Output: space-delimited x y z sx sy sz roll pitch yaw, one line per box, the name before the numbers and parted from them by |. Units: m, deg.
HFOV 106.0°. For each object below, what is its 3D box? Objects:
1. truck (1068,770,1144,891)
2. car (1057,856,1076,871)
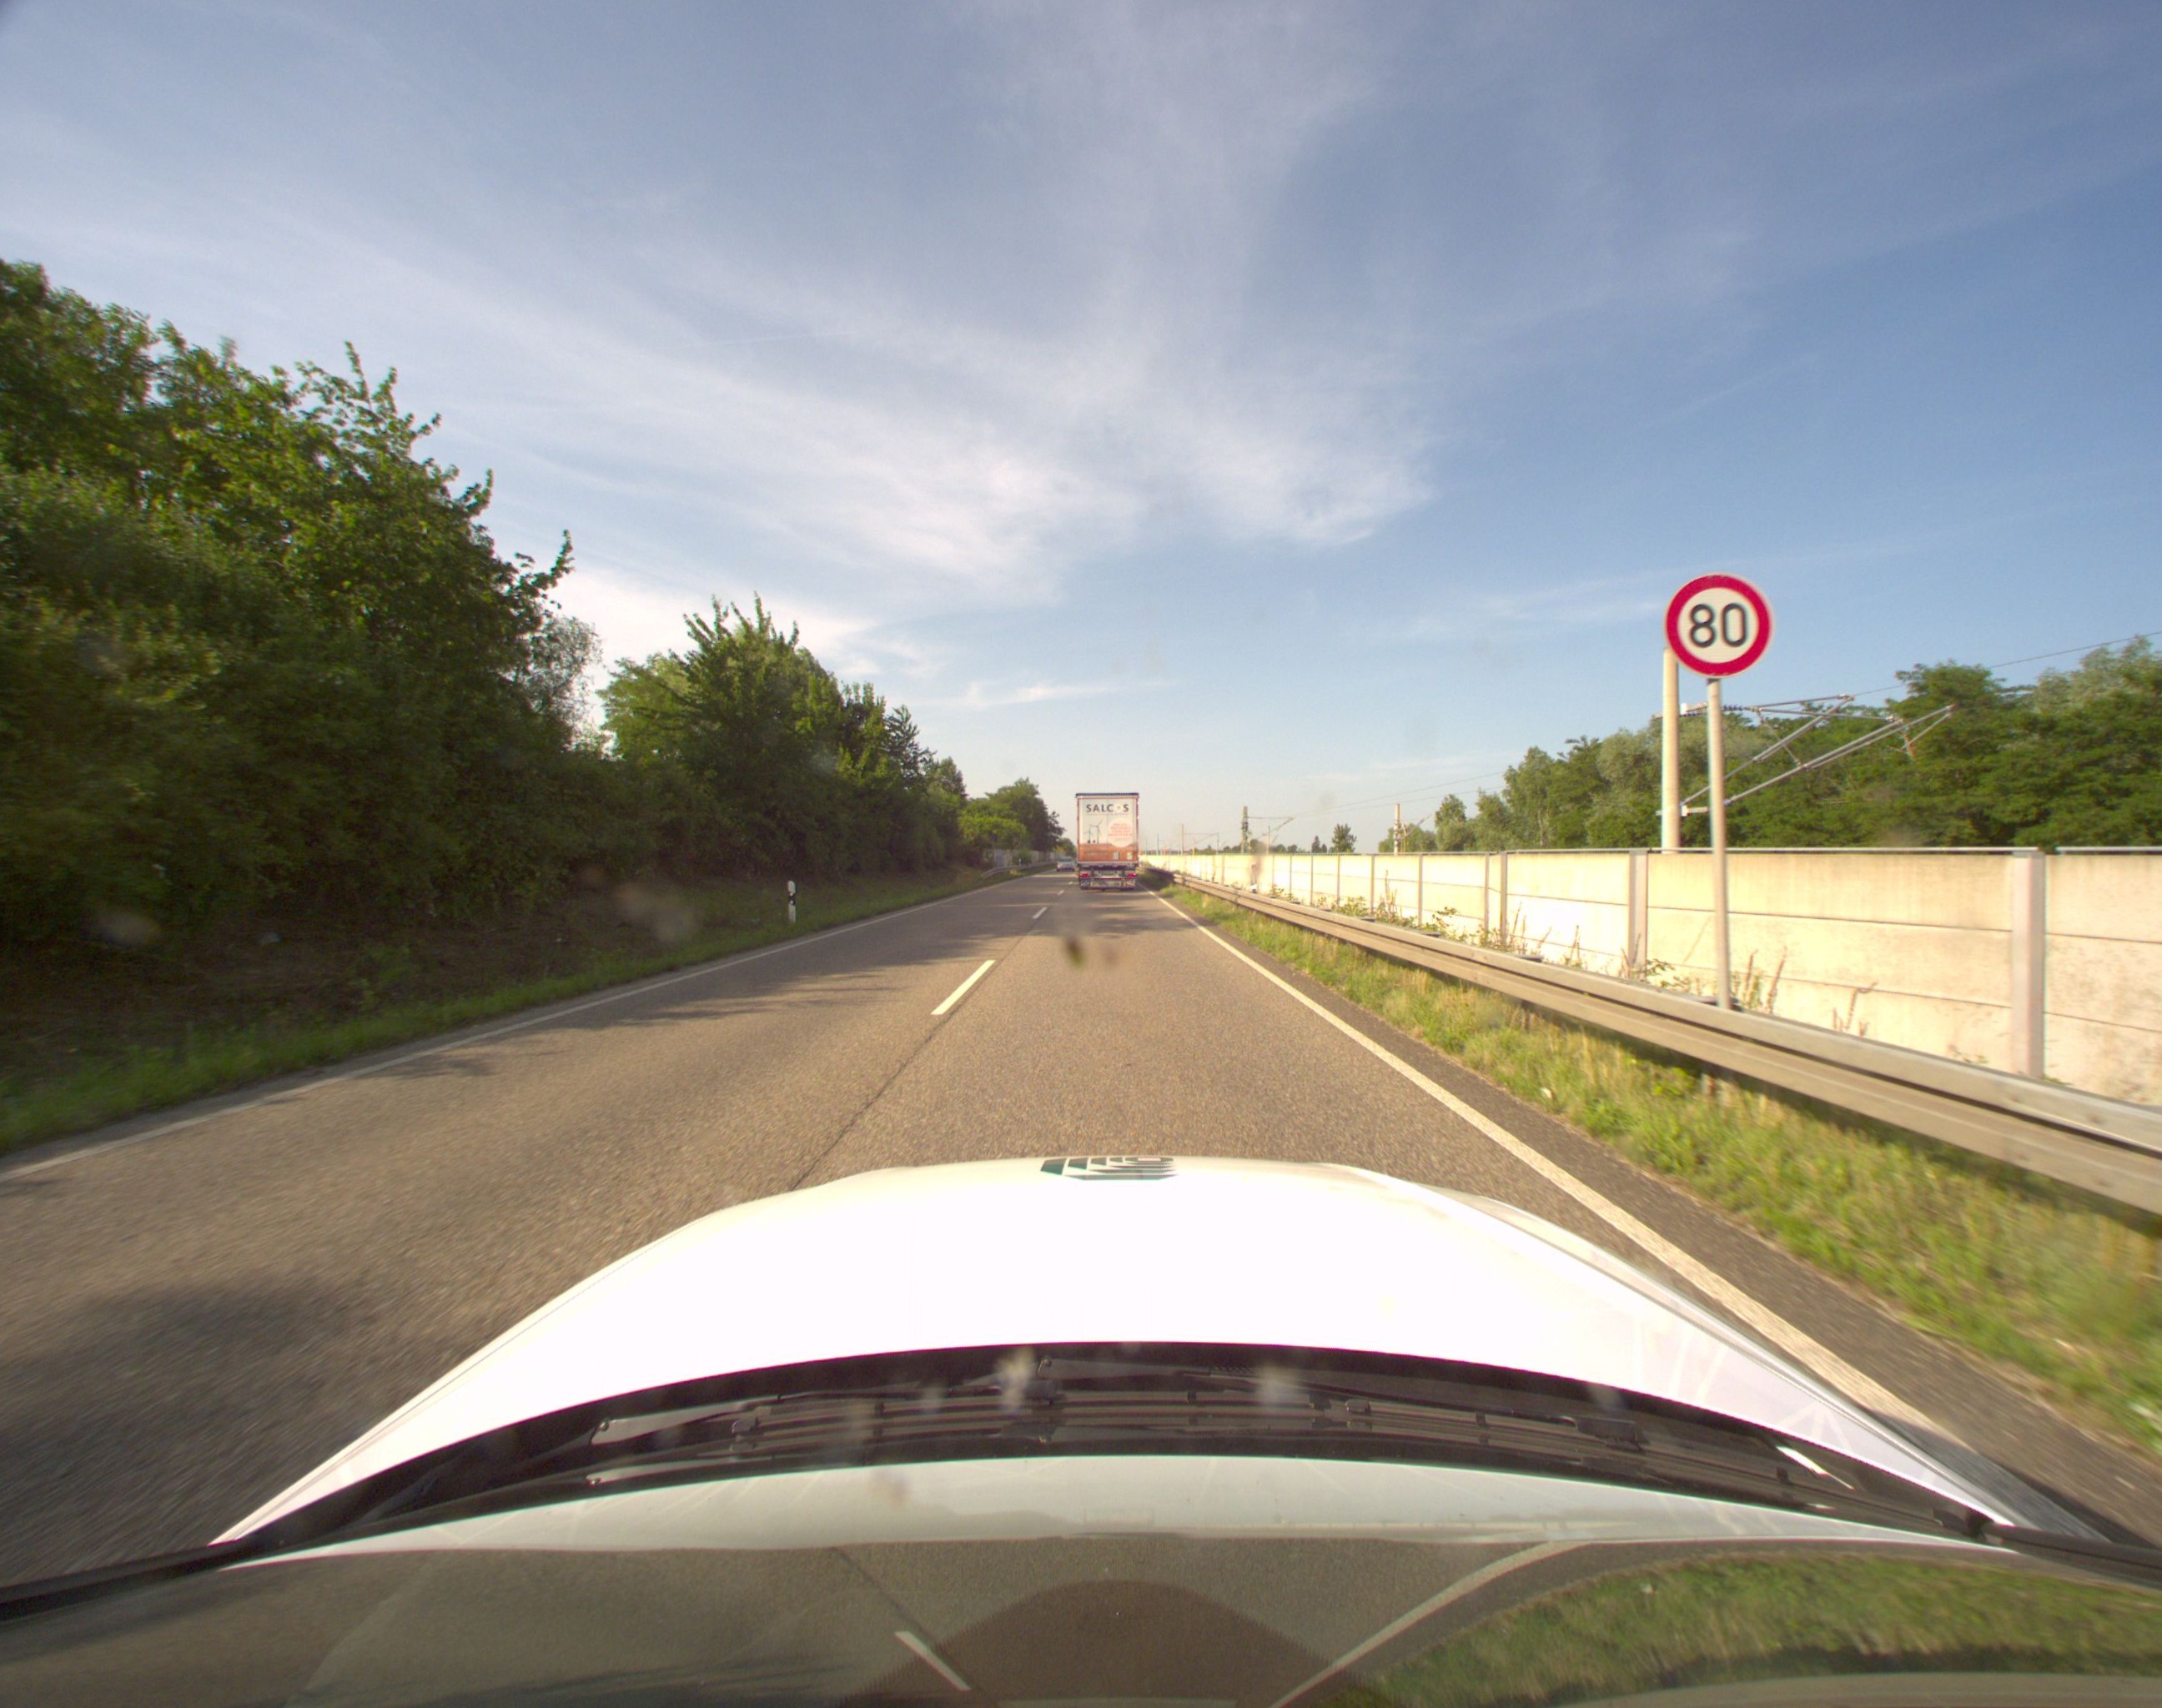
truck | 1.035 -1.000 39.195 3.023 4.920 11.682 -1 0 0
car | -1.447 0.906 80.513 1.714 1.394 4.361 -1 0 1
